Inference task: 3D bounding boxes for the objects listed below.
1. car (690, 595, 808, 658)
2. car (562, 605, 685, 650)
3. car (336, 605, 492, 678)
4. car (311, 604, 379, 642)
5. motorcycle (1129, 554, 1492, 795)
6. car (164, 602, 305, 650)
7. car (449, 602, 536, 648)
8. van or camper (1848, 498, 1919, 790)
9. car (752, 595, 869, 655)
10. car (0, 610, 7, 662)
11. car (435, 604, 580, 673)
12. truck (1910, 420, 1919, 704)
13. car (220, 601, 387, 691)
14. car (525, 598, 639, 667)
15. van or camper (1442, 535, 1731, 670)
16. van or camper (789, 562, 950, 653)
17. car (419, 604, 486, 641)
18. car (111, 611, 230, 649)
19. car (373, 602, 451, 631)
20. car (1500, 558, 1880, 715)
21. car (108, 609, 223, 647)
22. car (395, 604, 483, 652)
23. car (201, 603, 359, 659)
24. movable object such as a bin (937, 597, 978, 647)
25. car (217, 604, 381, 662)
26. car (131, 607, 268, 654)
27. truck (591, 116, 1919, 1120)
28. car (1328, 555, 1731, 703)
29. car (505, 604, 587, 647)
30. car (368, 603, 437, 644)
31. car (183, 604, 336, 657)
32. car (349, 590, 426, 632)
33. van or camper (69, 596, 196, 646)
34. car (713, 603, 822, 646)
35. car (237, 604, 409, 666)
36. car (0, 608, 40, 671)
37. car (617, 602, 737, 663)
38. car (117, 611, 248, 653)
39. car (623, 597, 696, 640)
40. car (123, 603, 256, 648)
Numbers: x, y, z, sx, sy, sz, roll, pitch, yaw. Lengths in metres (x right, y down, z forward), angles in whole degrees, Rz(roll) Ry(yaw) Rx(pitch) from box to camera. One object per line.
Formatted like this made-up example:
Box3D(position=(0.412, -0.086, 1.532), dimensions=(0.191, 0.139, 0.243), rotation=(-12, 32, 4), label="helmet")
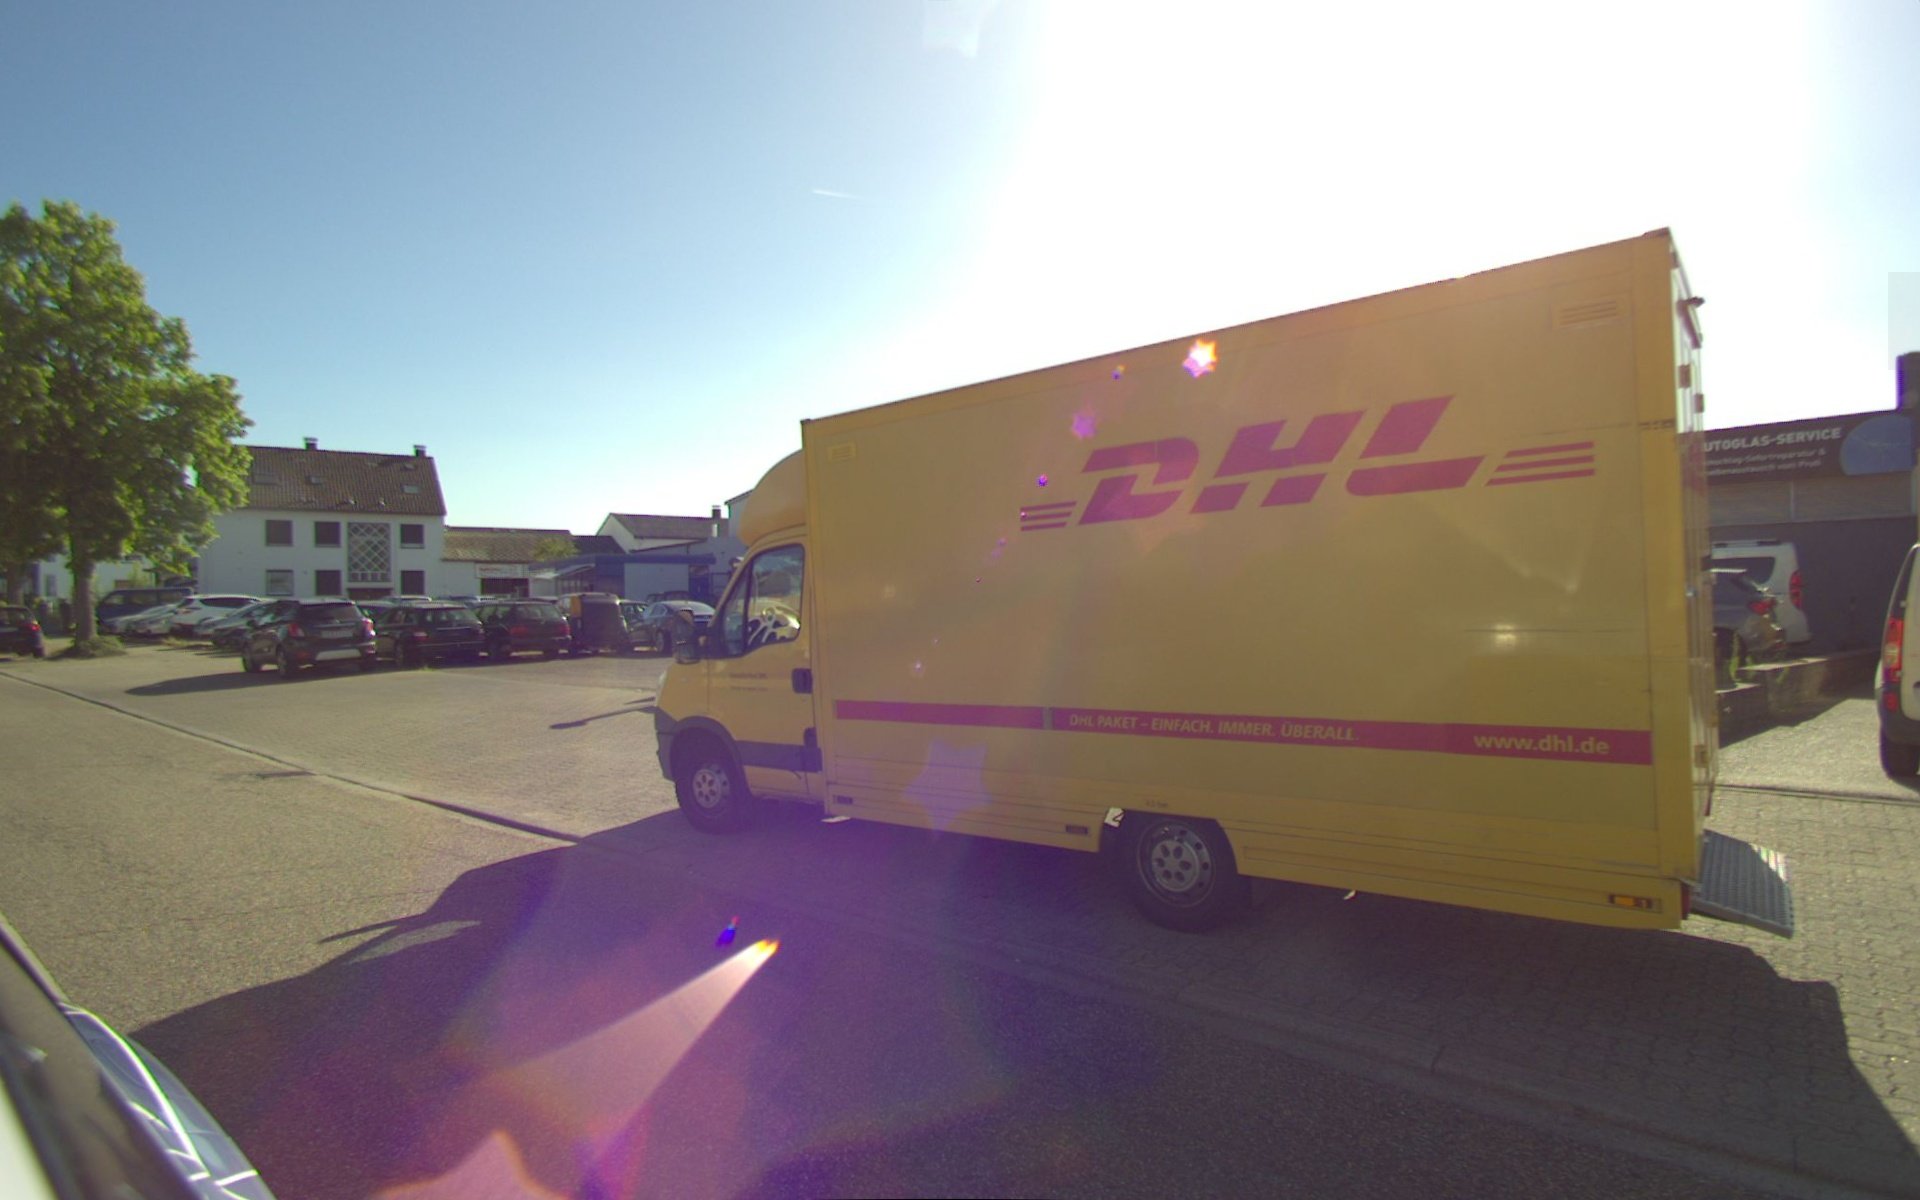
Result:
Box3D(position=(-6.405, 0.814, 30.435), dimensions=(1.754, 1.761, 4.171), rotation=(0, -2, -39), label="car")
Box3D(position=(-12.271, 0.966, 37.010), dimensions=(3.935, 1.461, 1.673), rotation=(-1, 1, -37), label="car")
Box3D(position=(-13.232, 0.939, 24.419), dimensions=(4.272, 1.602, 1.843), rotation=(-1, 0, 39), label="car")
Box3D(position=(-26.304, 0.965, 43.244), dimensions=(1.645, 1.528, 4.003), rotation=(-1, 0, -44), label="car")
Box3D(position=(3.091, 0.610, 9.320), dimensions=(3.041, 1.887, 0.772), rotation=(-2, 2, 44), label="motorcycle")
Box3D(position=(-28.256, 0.974, 39.528), dimensions=(1.764, 1.742, 4.205), rotation=(-1, 0, 40), label="car")
Box3D(position=(-17.013, 0.882, 36.752), dimensions=(1.645, 1.576, 4.003), rotation=(-1, 0, -44), label="car")
Box3D(position=(8.822, 0.287, 8.053), dimensions=(4.490, 2.029, 2.253), rotation=(0, 0, -44), label="van or camper")
Box3D(position=(-4.801, 0.814, 32.079), dimensions=(1.754, 1.761, 4.171), rotation=(0, -2, -39), label="car")
Box3D(position=(-34.529, 1.266, 34.999), dimensions=(4.339, 1.765, 1.785), rotation=(-1, 2, 40), label="car")
Box3D(position=(-11.668, 0.928, 25.994), dimensions=(4.276, 1.602, 1.841), rotation=(-1, 0, 42), label="car")
Box3D(position=(13.541, -0.529, 12.011), dimensions=(5.597, 3.143, 2.527), rotation=(-3, 1, -39), label="truck")
Box3D(position=(-14.672, 0.957, 22.529), dimensions=(4.272, 1.727, 1.843), rotation=(-1, 3, 39), label="car")
Box3D(position=(-10.616, 0.900, 28.282), dimensions=(1.754, 1.761, 4.171), rotation=(0, -2, -39), label="car")
Box3D(position=(10.557, 0.063, 17.176), dimensions=(3.994, 2.029, 1.843), rotation=(-1, 0, 38), label="van or camper")
Box3D(position=(-3.128, 0.239, 33.551), dimensions=(2.137, 2.736, 6.280), rotation=(-1, 0, -39), label="van or camper")
Box3D(position=(-22.821, 0.990, 45.458), dimensions=(1.645, 1.576, 3.719), rotation=(-1, 0, -44), label="car")
Box3D(position=(-36.571, 1.356, 46.940), dimensions=(4.200, 1.553, 1.767), rotation=(-1, 0, -44), label="car")
Box3D(position=(-31.586, 0.921, 58.379), dimensions=(3.756, 1.553, 1.551), rotation=(-1, 0, -38), label="car")
Box3D(position=(9.873, 0.408, 13.905), dimensions=(3.997, 1.829, 1.973), rotation=(0, 2, 40), label="car")
Box3D(position=(-35.364, 1.226, 45.118), dimensions=(1.547, 1.553, 3.767), rotation=(-1, 0, 40), label="car")
Box3D(position=(-18.098, 0.943, 35.093), dimensions=(1.645, 1.528, 4.003), rotation=(-1, 0, -44), label="car")
Box3D(position=(-22.930, 1.004, 34.223), dimensions=(4.199, 1.742, 1.767), rotation=(0, -1, -44), label="car")
Box3D(position=(-0.088, 0.678, 31.229), dimensions=(0.721, 1.500, 1.048), rotation=(0, -1, -42), label="movable object such as a bin")
Box3D(position=(-21.299, 1.006, 32.709), dimensions=(4.199, 1.742, 1.767), rotation=(0, -1, -44), label="car")
Box3D(position=(-30.407, 1.165, 40.522), dimensions=(4.199, 1.742, 1.767), rotation=(0, -1, -44), label="car")
Box3D(position=(0.831, 0.061, 6.220), dimensions=(7.237, 3.005, 2.379), rotation=(-1, 1, 39), label="truck")
Box3D(position=(7.243, 0.443, 13.110), dimensions=(4.209, 1.574, 1.846), rotation=(-6, -3, 40), label="car")
Box3D(position=(-16.242, 0.973, 39.607), dimensions=(1.645, 1.576, 3.852), rotation=(-1, 0, -44), label="car")
Box3D(position=(-24.128, 0.993, 43.747), dimensions=(1.645, 1.631, 4.003), rotation=(-1, 0, -44), label="car")
Box3D(position=(-24.768, 1.039, 35.884), dimensions=(1.765, 1.742, 4.204), rotation=(-1, 0, 42), label="car")
Box3D(position=(-22.099, 0.420, 39.029), dimensions=(1.645, 1.528, 4.003), rotation=(-1, 0, -44), label="car")
Box3D(position=(-41.546, 1.012, 50.949), dimensions=(4.829, 2.337, 2.248), rotation=(-1, 1, -38), label="van or camper")
Box3D(position=(-7.601, 0.948, 40.171), dimensions=(3.939, 1.564, 1.671), rotation=(-1, 0, -42), label="car")
Box3D(position=(-19.422, 1.010, 30.958), dimensions=(4.199, 1.742, 1.767), rotation=(0, -1, -44), label="car")
Box3D(position=(-29.891, 1.212, 31.150), dimensions=(4.551, 1.784, 1.658), rotation=(-1, 2, 40), label="car")
Box3D(position=(-8.030, 0.921, 28.491), dimensions=(1.754, 1.557, 4.171), rotation=(-1, -2, -39), label="car")
Box3D(position=(-33.678, 1.348, 43.931), dimensions=(1.764, 1.597, 4.207), rotation=(-1, 0, 39), label="car")
Box3D(position=(-12.574, 0.751, 42.211), dimensions=(1.642, 1.666, 4.009), rotation=(-1, 0, -36), label="car")
Box3D(position=(-32.109, 1.030, 42.239), dimensions=(1.766, 1.766, 4.202), rotation=(-1, -1, 43), label="car")
